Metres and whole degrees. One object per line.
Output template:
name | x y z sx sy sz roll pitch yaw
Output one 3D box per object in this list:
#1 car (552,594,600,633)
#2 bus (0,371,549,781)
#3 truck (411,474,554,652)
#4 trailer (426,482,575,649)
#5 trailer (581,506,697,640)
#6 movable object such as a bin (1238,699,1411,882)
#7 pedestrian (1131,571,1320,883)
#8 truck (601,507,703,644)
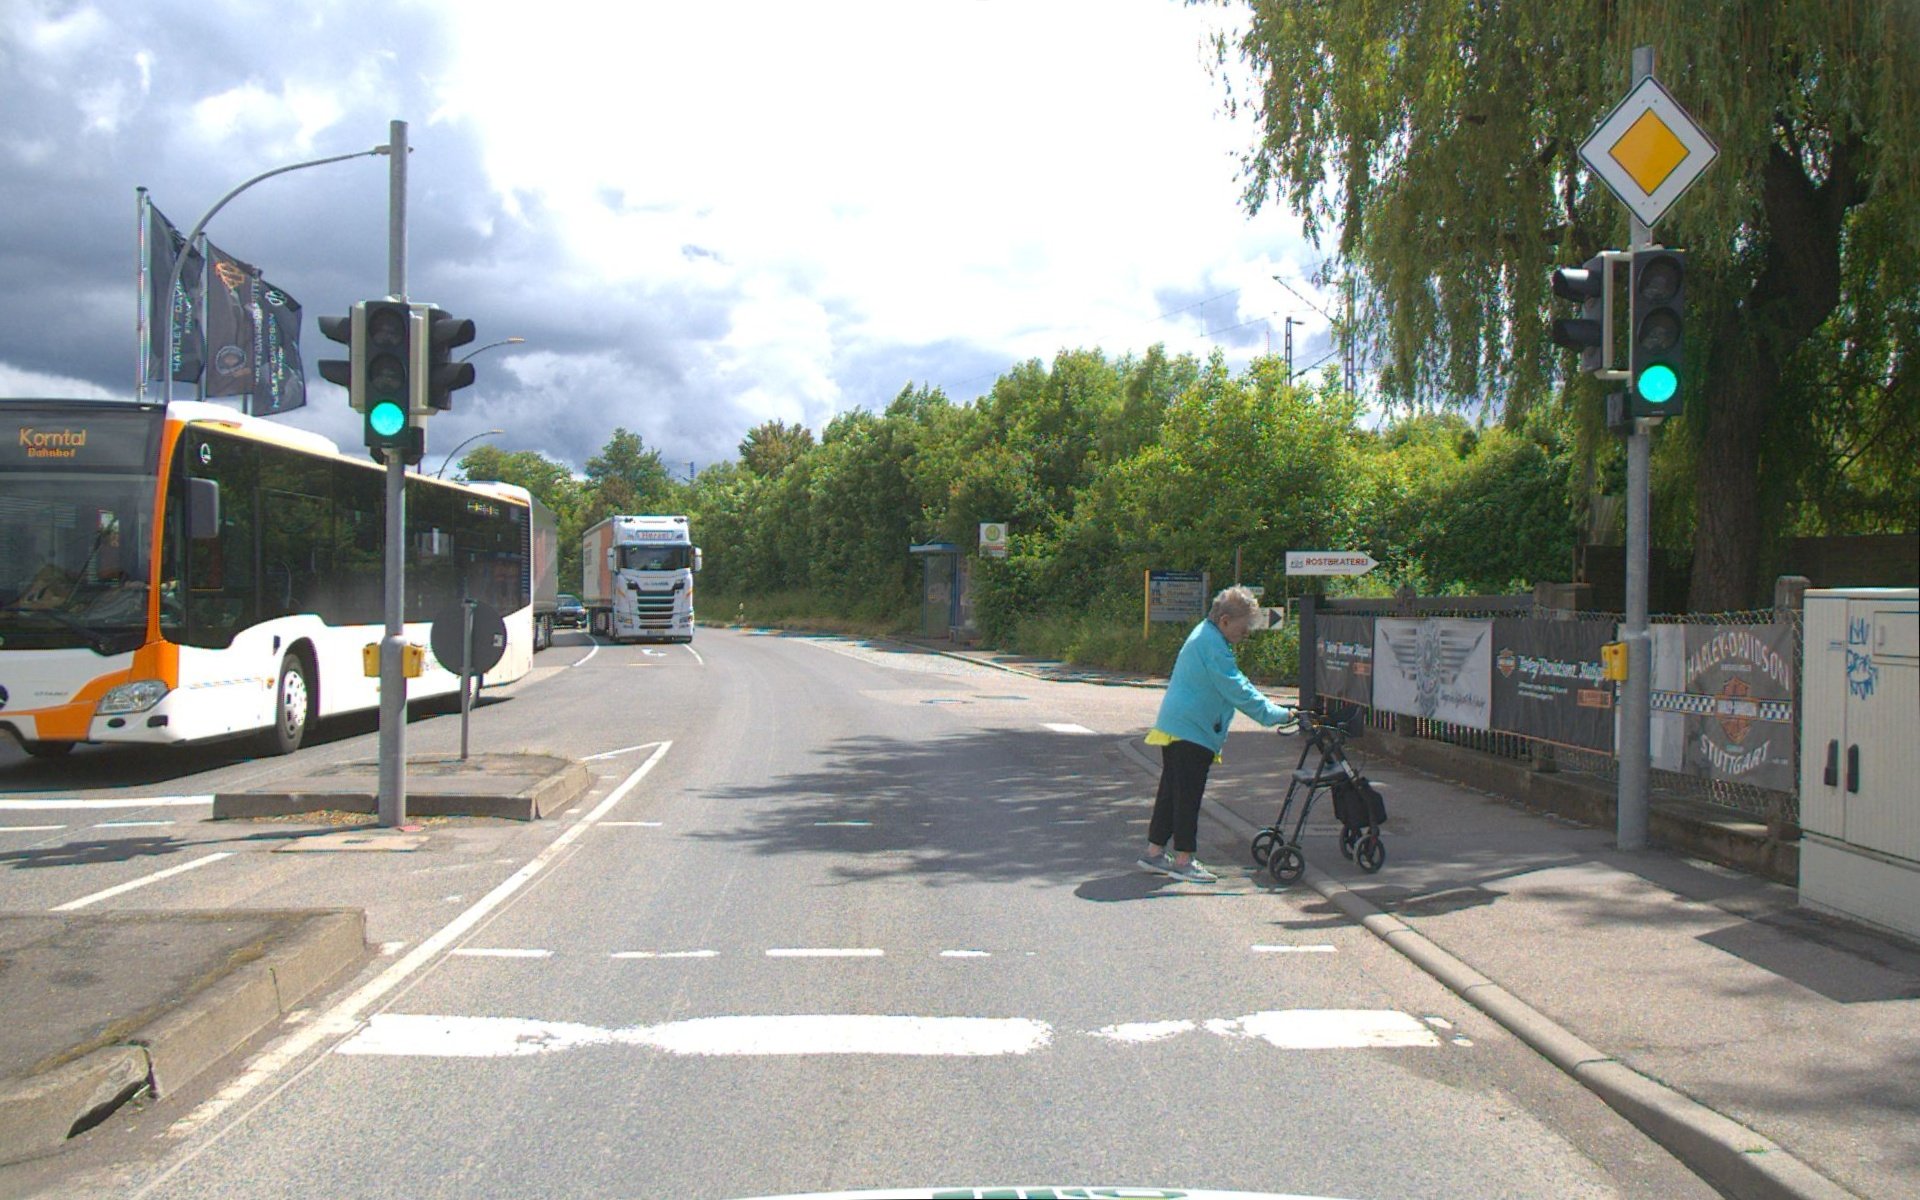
car | -17.683 0.614 76.053 1.961 1.736 3.984 1 0 -15
bus | -7.383 -0.157 18.557 2.663 3.084 12.263 0 0 -1
truck | -11.957 -0.854 41.945 2.748 4.124 6.484 1 0 -10
trailer | -13.247 -0.848 48.964 2.748 4.124 15.517 1 0 -10
trailer | -11.936 -0.864 60.222 2.726 4.217 15.281 1 0 -16
movable object such as a bin | 1.920 0.996 8.781 0.731 0.887 0.670 1 0 -4
pedestrian | 1.383 0.647 8.736 0.822 1.570 0.733 1 -1 -4
truck | -10.085 -0.749 53.875 2.727 4.191 4.964 1 0 -16
